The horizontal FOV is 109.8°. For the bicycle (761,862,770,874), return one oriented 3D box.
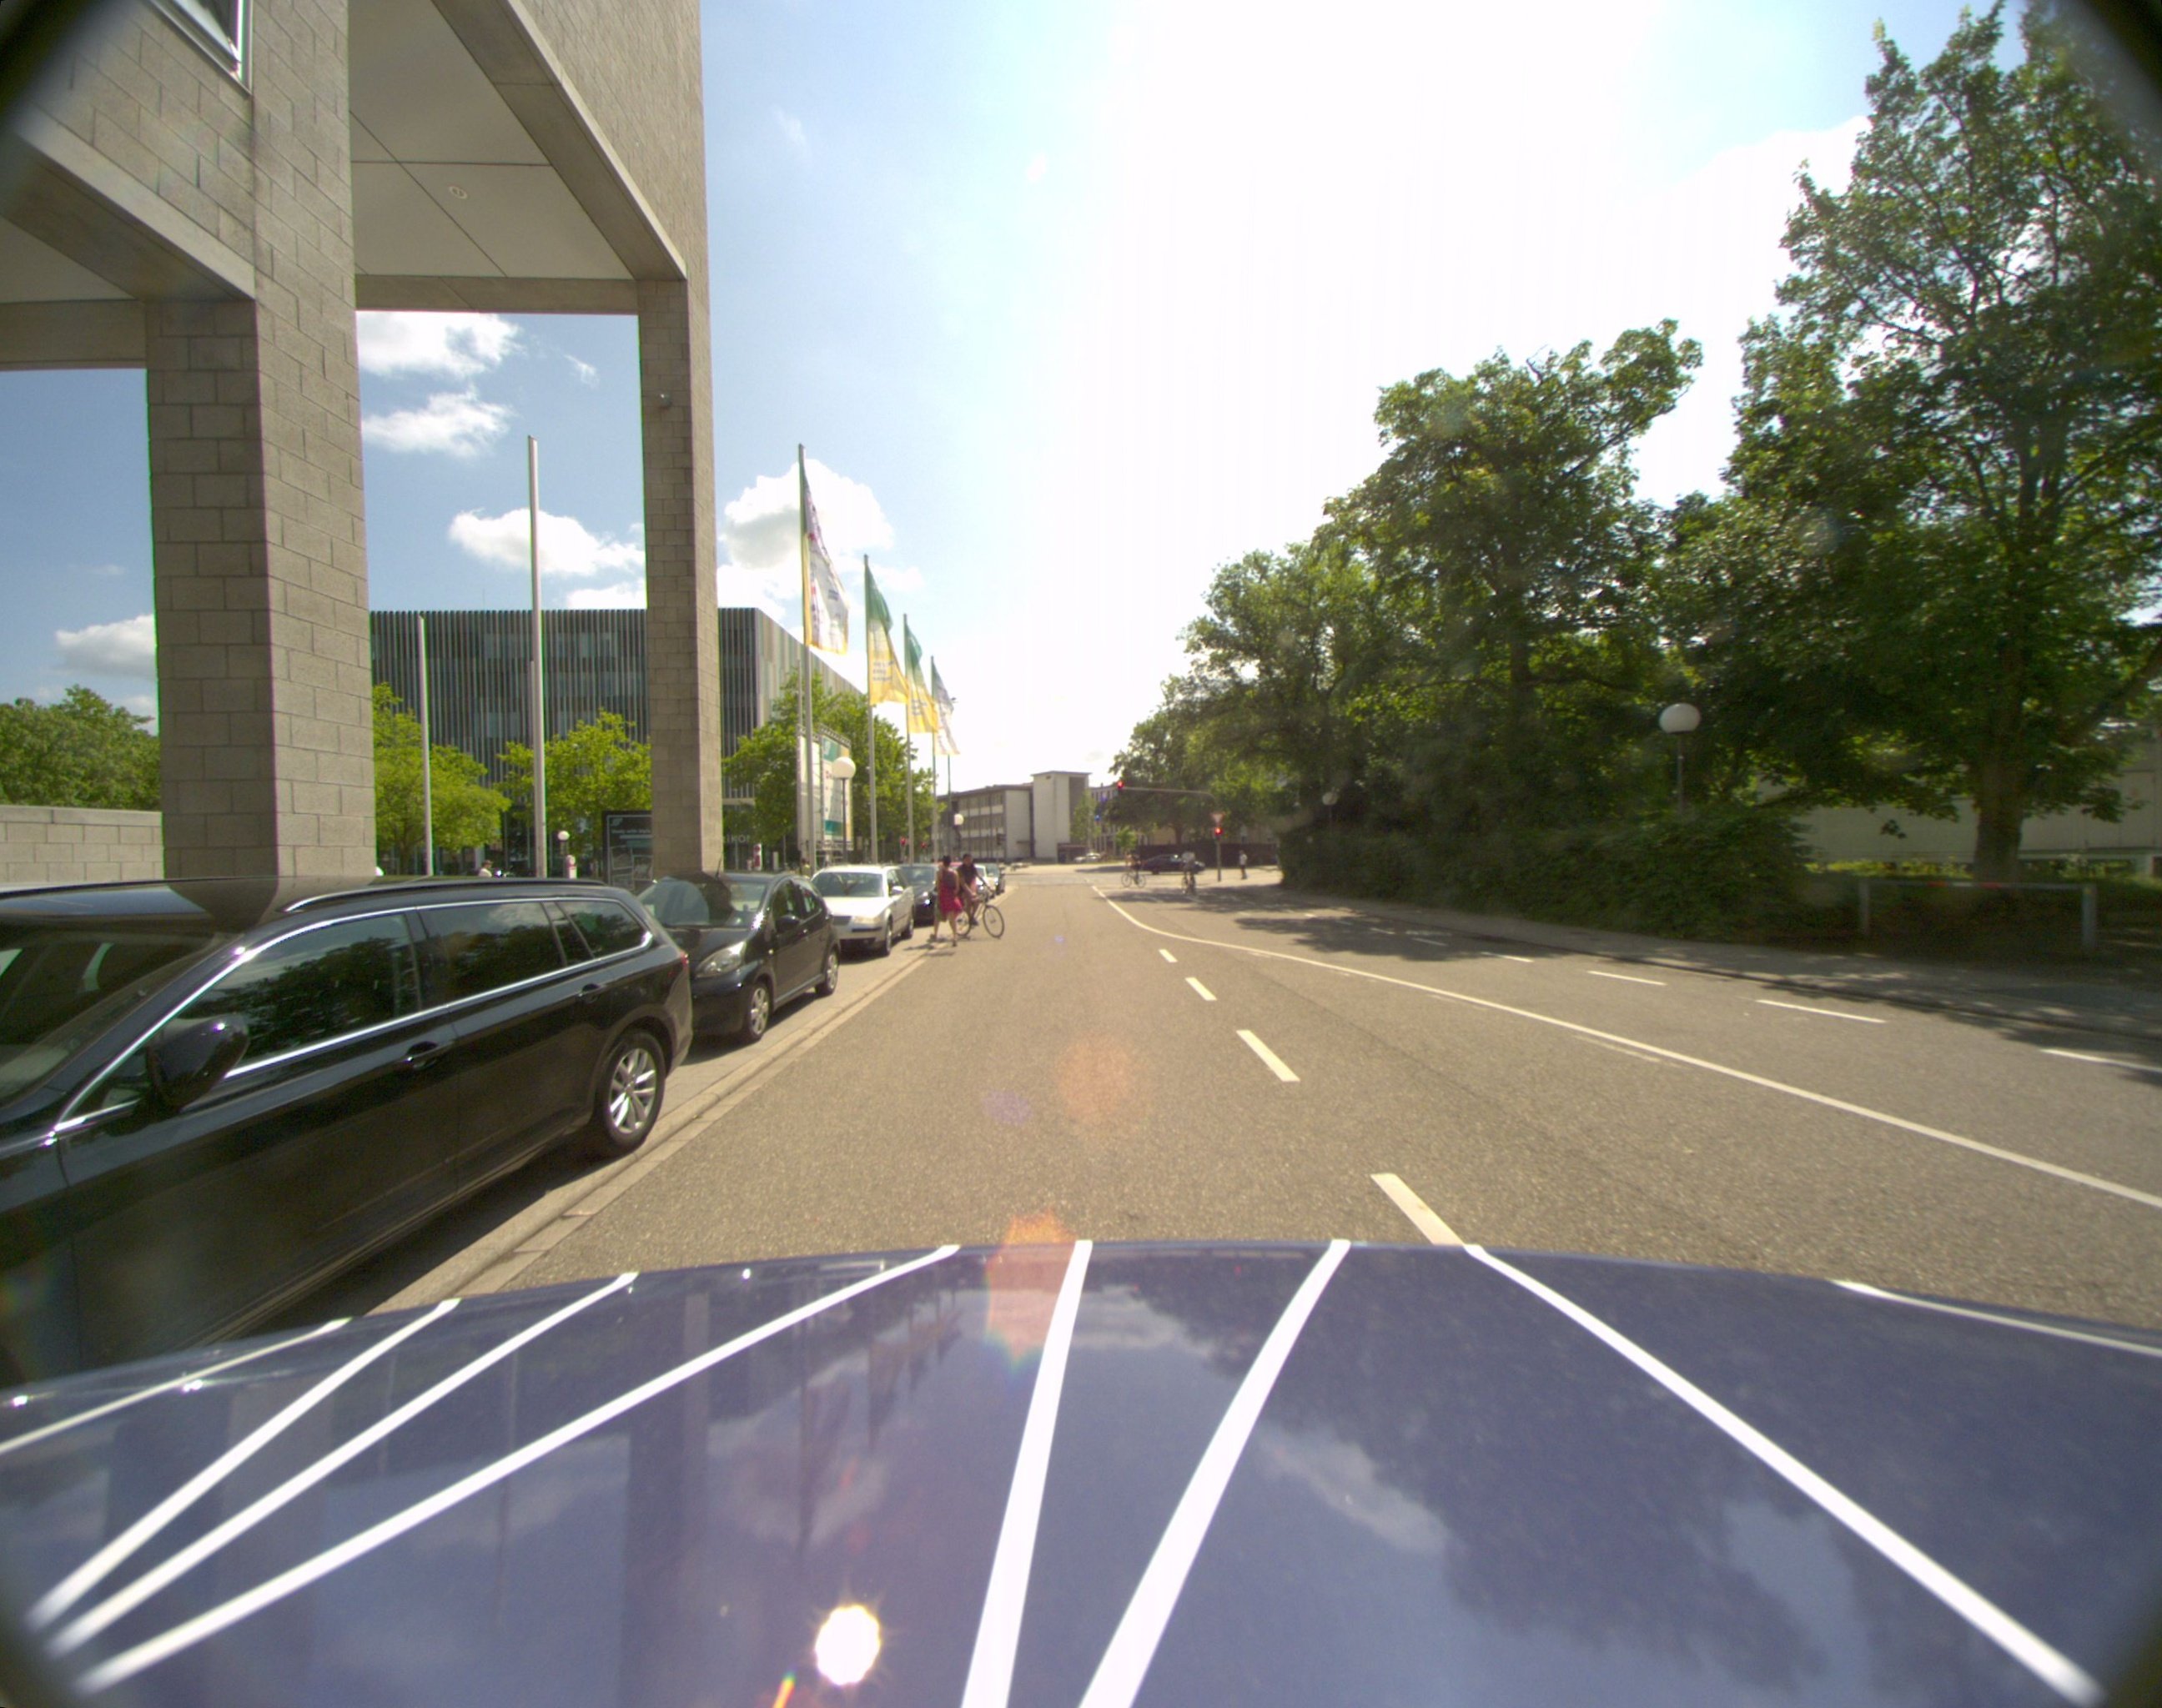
[{"bbox_3d":[-33.243,1.444,80.121,0.373,1.180,1.545,0,2,-3],"label":"bicycle"}]

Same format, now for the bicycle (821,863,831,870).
[{"bbox_3d":[-28.232,1.374,84.087,0.530,0.760,1.769,-2,1,-33],"label":"bicycle"}]

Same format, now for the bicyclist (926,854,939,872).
[{"bbox_3d":[-13.850,0.853,71.069,1.001,1.606,0.655,-2,1,-30],"label":"bicyclist"}]

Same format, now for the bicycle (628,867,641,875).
[{"bbox_3d":[-47.331,1.814,80.583,0.373,0.771,1.546,-1,2,2],"label":"bicycle"}]

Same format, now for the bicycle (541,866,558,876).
[{"bbox_3d":[-55.580,1.780,79.469,0.373,0.950,1.547,-1,2,14],"label":"bicycle"}]

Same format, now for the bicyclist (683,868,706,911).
[{"bbox_3d":[-12.358,1.122,24.281,0.609,1.312,0.741,-1,-1,-30],"label":"bicyclist"}]

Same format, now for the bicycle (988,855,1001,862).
[{"bbox_3d":[-12.539,0.651,109.632,1.776,0.950,0.527,-1,3,-30],"label":"bicycle"}]

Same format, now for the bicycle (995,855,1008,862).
[{"bbox_3d":[-11.272,0.650,107.719,1.776,0.950,0.528,-1,3,-27],"label":"bicycle"}]

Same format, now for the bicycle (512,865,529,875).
[{"bbox_3d":[-58.757,1.719,79.637,0.373,0.950,1.547,-1,2,14],"label":"bicycle"}]

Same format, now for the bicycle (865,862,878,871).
[{"bbox_3d":[-23.984,1.435,86.839,1.768,0.950,0.530,0,2,42],"label":"bicycle"}]

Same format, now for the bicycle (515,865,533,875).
[{"bbox_3d":[-58.237,1.657,79.432,0.373,0.950,1.547,-1,2,14],"label":"bicycle"}]

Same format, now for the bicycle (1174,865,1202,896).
[{"bbox_3d":[4.298,1.044,30.672,0.694,1.164,2.209,-1,1,-3],"label":"bicycle"}]

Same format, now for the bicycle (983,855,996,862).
[{"bbox_3d":[-13.375,0.674,110.646,1.776,0.950,0.527,-1,3,-30],"label":"bicycle"}]

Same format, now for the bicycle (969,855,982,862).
[{"bbox_3d":[-15.728,0.719,113.407,1.776,0.950,0.527,-1,3,-30],"label":"bicycle"}]

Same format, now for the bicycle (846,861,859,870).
[{"bbox_3d":[-25.799,1.299,85.711,0.530,0.950,1.768,-7,5,-45],"label":"bicycle"}]

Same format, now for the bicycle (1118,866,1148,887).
[{"bbox_3d":[2.614,1.125,38.656,0.796,0.983,2.206,-1,1,-16],"label":"bicycle"}]

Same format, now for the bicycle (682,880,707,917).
[{"bbox_3d":[-12.348,1.403,24.264,0.609,1.131,1.584,-1,-1,-30],"label":"bicycle"}]

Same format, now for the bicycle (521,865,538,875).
[{"bbox_3d":[-57.582,1.668,79.391,0.373,0.950,1.547,-1,2,14],"label":"bicycle"}]

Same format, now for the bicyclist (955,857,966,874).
[{"bbox_3d":[-11.459,1.084,72.180,0.787,1.529,0.656,-2,1,-26],"label":"bicyclist"}]

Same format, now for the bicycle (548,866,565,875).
[{"bbox_3d":[-55.023,1.726,79.732,0.373,0.950,1.547,-1,2,14],"label":"bicycle"}]

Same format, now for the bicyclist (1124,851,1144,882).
[{"bbox_3d":[2.670,0.599,38.446,0.695,1.539,1.017,-1,1,-17],"label":"bicyclist"}]

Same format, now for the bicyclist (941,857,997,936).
[{"bbox_3d":[-2.295,0.845,15.587,0.930,1.555,0.664,-1,1,42],"label":"bicyclist"}]

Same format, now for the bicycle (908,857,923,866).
[{"bbox_3d":[-17.750,0.830,81.658,1.768,0.950,0.530,0,2,36],"label":"bicycle"}]

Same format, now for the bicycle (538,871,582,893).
[{"bbox_3d":[-29.148,1.587,42.509,2.028,1.176,0.800,-1,2,9],"label":"bicycle"}]

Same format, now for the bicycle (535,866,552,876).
[{"bbox_3d":[-56.233,1.803,79.467,0.373,0.950,1.547,-1,2,14],"label":"bicycle"}]

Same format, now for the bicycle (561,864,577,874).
[{"bbox_3d":[-53.843,1.545,79.936,0.373,0.950,1.547,-1,2,14],"label":"bicycle"}]

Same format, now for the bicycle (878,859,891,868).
[{"bbox_3d":[-22.802,1.077,88.046,1.768,0.950,0.530,0,2,42],"label":"bicycle"}]

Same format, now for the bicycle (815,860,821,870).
[{"bbox_3d":[-28.960,1.212,83.705,0.529,0.950,1.770,-1,1,-21],"label":"bicycle"}]

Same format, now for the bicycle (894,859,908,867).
[{"bbox_3d":[-21.217,1.068,89.669,1.768,0.950,0.530,0,2,36],"label":"bicycle"}]

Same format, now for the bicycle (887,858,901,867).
[{"bbox_3d":[-21.935,1.008,89.191,1.768,0.950,0.530,0,2,36],"label":"bicycle"}]

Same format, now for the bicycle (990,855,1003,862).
[{"bbox_3d":[-12.039,0.624,108.782,1.776,0.950,0.527,-1,3,-30],"label":"bicycle"}]

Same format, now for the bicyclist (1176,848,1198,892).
[{"bbox_3d":[4.290,0.626,30.704,0.694,1.727,0.918,-1,1,-3],"label":"bicyclist"}]
